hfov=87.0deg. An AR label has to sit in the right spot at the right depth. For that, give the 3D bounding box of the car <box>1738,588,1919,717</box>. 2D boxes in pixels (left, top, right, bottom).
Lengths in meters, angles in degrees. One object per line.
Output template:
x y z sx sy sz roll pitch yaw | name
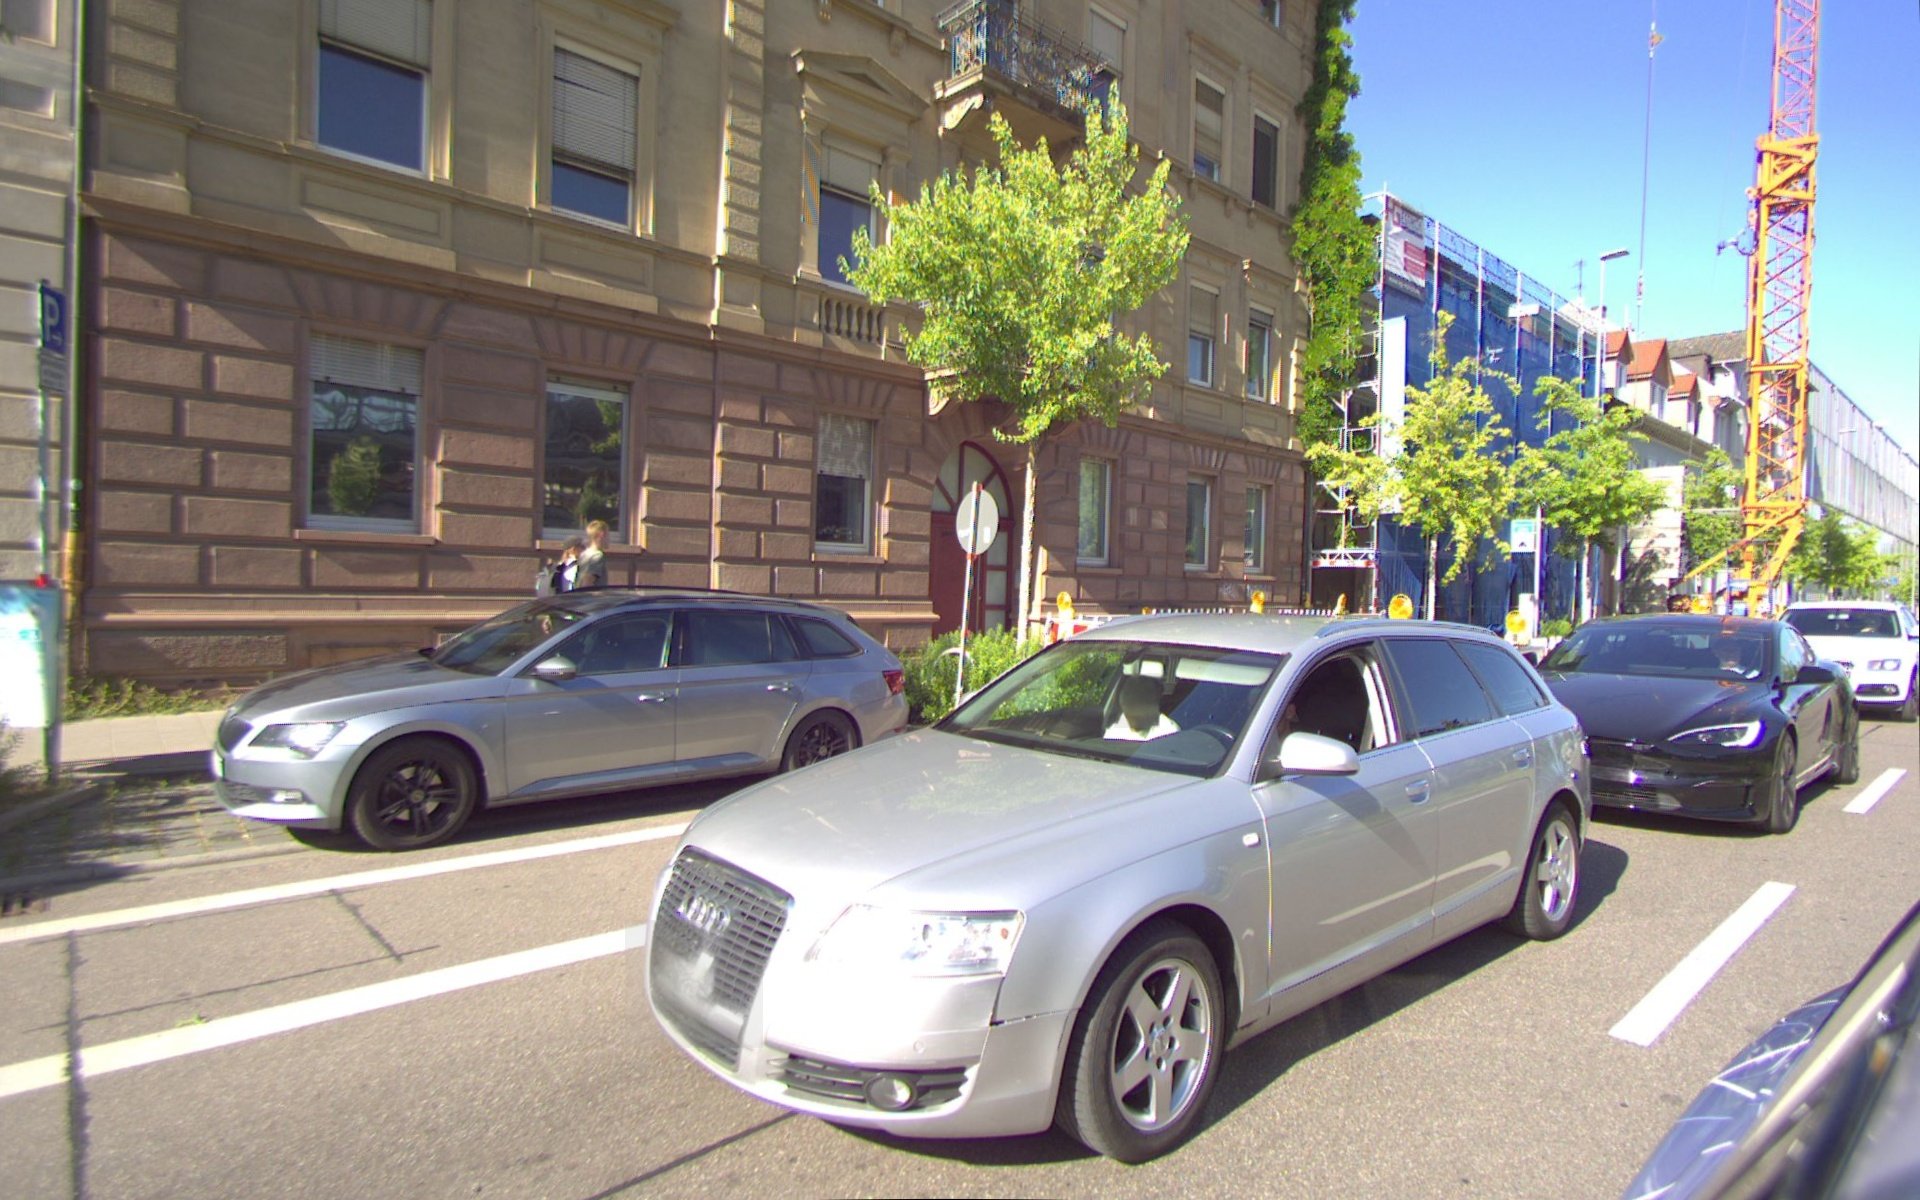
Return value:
13.127 0.677 14.879 3.929 1.654 1.933 1 0 -41 | car

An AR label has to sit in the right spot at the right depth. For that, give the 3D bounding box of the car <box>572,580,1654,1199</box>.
1.084 0.692 4.236 4.751 1.445 1.751 1 0 -39 | car

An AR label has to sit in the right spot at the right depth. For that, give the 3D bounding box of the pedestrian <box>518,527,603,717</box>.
-4.055 0.208 10.264 0.577 1.842 0.564 1 4 -41 | pedestrian

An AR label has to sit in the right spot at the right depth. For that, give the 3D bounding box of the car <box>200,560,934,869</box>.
-2.507 0.576 7.289 4.619 1.493 1.651 1 4 -42 | car

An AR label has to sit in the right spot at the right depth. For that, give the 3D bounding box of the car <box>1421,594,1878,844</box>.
5.744 0.710 8.194 4.446 1.462 2.054 1 0 -42 | car

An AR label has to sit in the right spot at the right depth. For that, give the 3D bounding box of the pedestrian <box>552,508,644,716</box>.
-3.531 0.096 9.857 0.577 1.936 0.660 1 4 -41 | pedestrian
